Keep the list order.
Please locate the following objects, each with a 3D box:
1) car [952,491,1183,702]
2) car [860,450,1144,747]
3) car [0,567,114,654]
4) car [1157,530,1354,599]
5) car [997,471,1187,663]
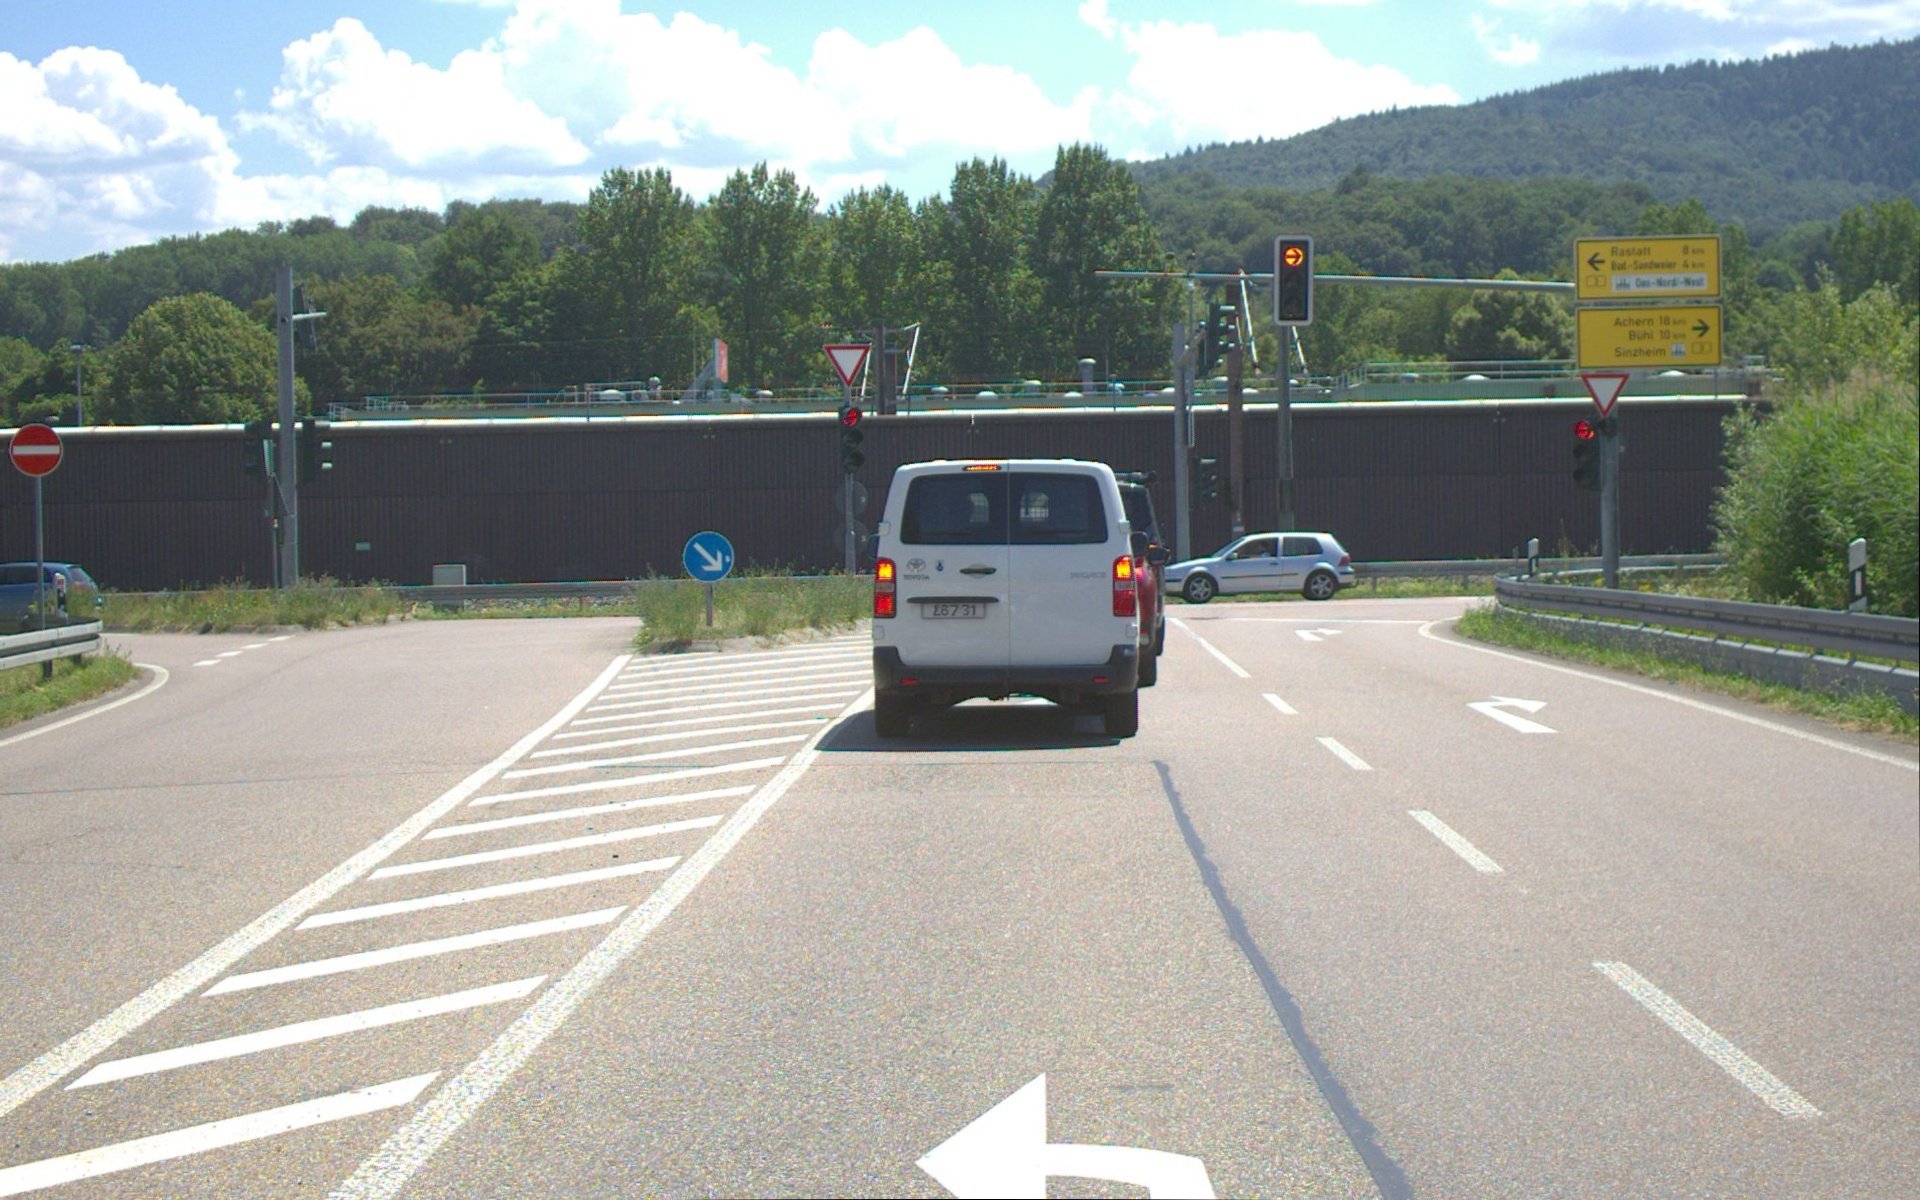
[{"bbox_3d":[1.020,-0.067,32.737,1.993,1.806,4.000,-2,1,2],"label":"car"},{"bbox_3d":[0.325,-0.045,24.776,1.870,1.958,4.000,0,1,1],"label":"car"},{"bbox_3d":[-20.005,0.209,72.117,3.987,1.763,2.000,0,1,1],"label":"car"},{"bbox_3d":[6.157,-0.750,72.023,3.987,1.345,1.849,0,3,1],"label":"car"},{"bbox_3d":[1.493,-0.393,39.494,1.993,2.006,4.000,-2,1,2],"label":"car"}]
